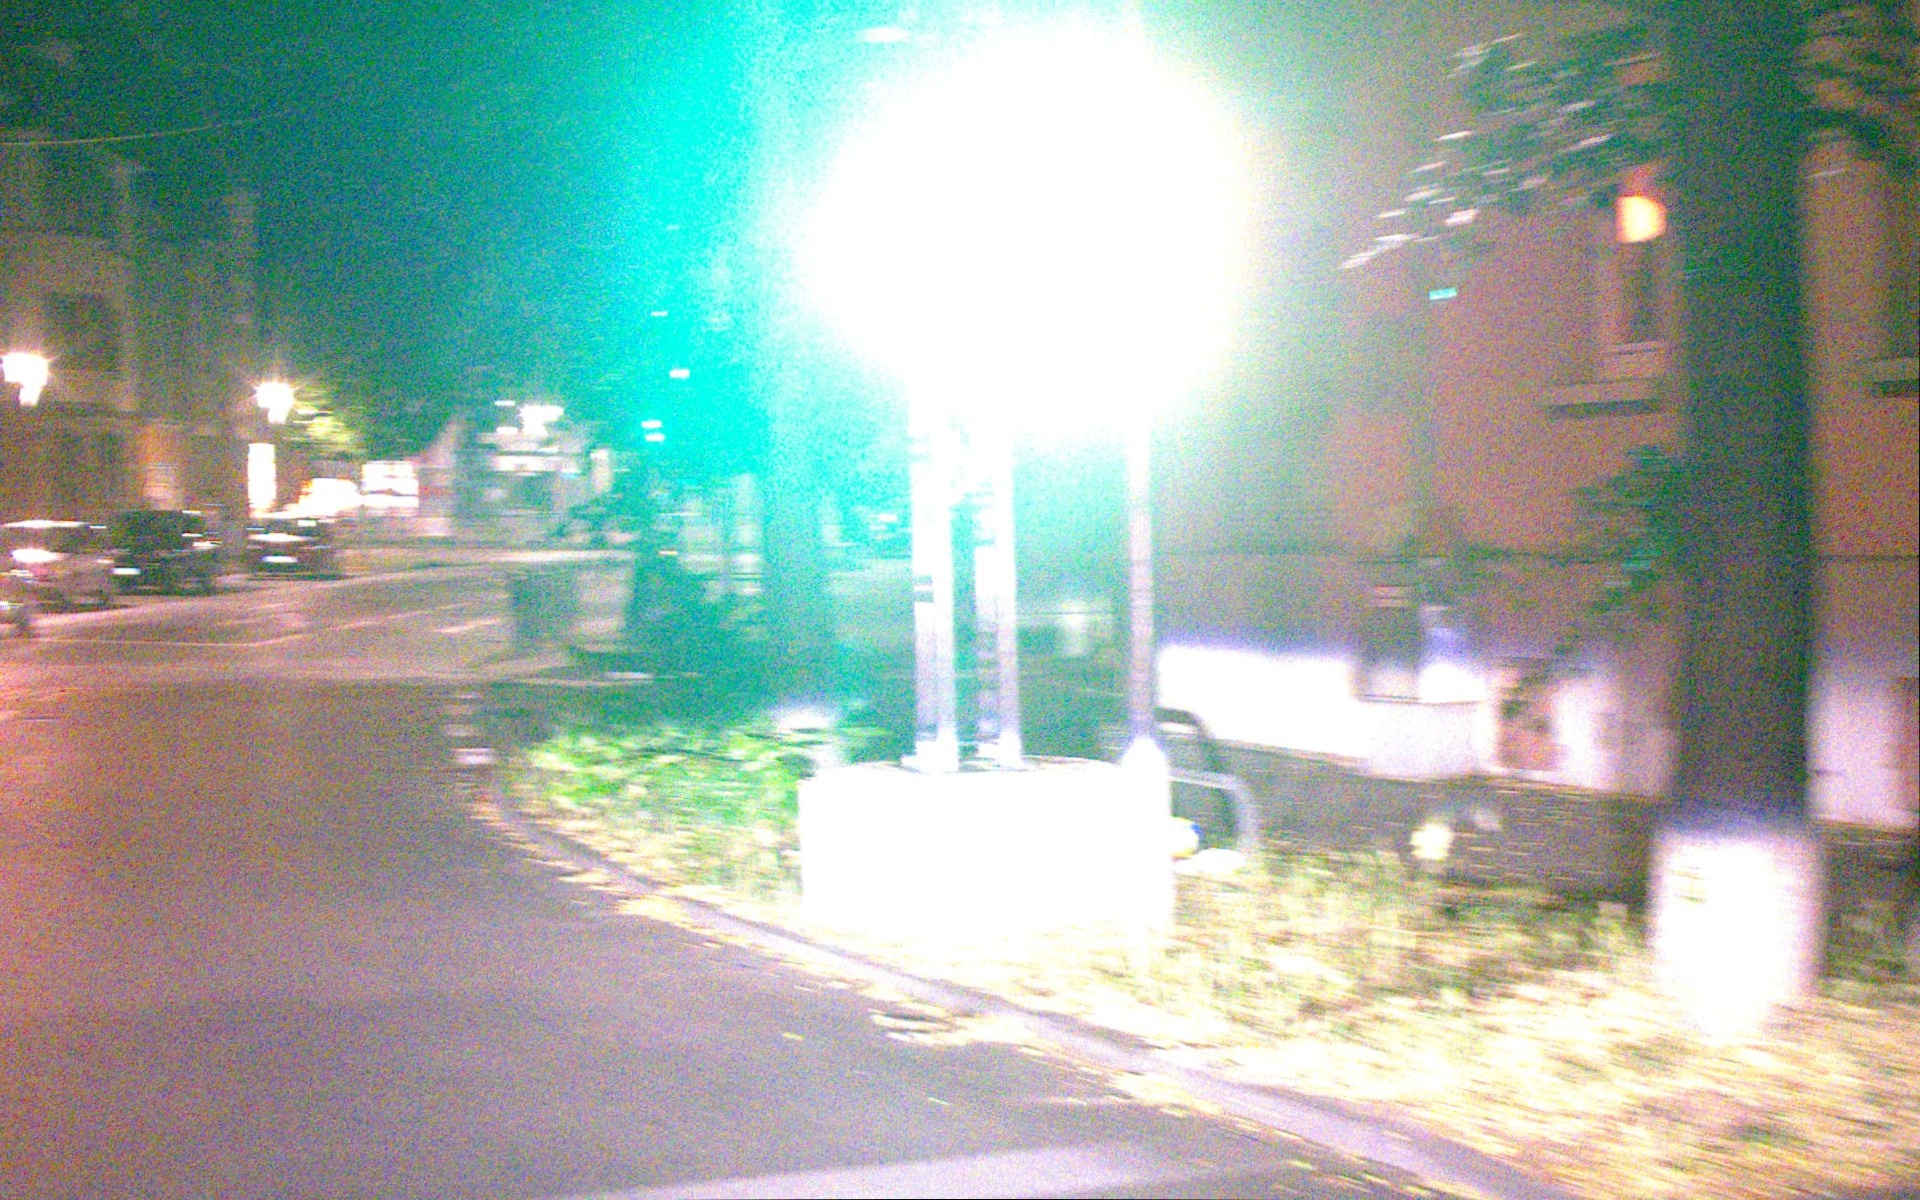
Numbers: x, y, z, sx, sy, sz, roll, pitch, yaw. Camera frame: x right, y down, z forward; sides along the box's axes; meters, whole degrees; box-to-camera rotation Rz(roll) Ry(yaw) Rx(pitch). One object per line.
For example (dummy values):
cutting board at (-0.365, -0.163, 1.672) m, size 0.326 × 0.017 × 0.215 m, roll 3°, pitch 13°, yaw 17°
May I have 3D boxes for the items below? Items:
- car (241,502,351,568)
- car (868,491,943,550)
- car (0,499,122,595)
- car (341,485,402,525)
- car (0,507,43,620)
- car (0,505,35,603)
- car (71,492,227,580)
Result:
car at (-15.290, -1.518, 79.353) m, size 1.784 × 1.410 × 4.127 m, roll 1°, pitch 2°, yaw -1°
car at (-1.425, -2.045, 87.750) m, size 1.733 × 1.454 × 4.729 m, roll 0°, pitch 2°, yaw -3°
car at (-15.635, -0.932, 58.506) m, size 1.784 × 1.486 × 4.001 m, roll 2°, pitch 2°, yaw -1°
car at (-24.095, -3.894, 140.900) m, size 1.993 × 1.568 × 4.329 m, roll -1°, pitch 2°, yaw -3°
car at (-13.144, -0.416, 43.800) m, size 1.715 × 1.424 × 4.000 m, roll -2°, pitch 2°, yaw 1°
car at (-15.861, -0.713, 53.049) m, size 1.784 × 1.486 × 4.329 m, roll 2°, pitch 2°, yaw 3°
car at (-15.667, -1.267, 66.634) m, size 1.784 × 1.576 × 4.411 m, roll 2°, pitch 2°, yaw 2°
